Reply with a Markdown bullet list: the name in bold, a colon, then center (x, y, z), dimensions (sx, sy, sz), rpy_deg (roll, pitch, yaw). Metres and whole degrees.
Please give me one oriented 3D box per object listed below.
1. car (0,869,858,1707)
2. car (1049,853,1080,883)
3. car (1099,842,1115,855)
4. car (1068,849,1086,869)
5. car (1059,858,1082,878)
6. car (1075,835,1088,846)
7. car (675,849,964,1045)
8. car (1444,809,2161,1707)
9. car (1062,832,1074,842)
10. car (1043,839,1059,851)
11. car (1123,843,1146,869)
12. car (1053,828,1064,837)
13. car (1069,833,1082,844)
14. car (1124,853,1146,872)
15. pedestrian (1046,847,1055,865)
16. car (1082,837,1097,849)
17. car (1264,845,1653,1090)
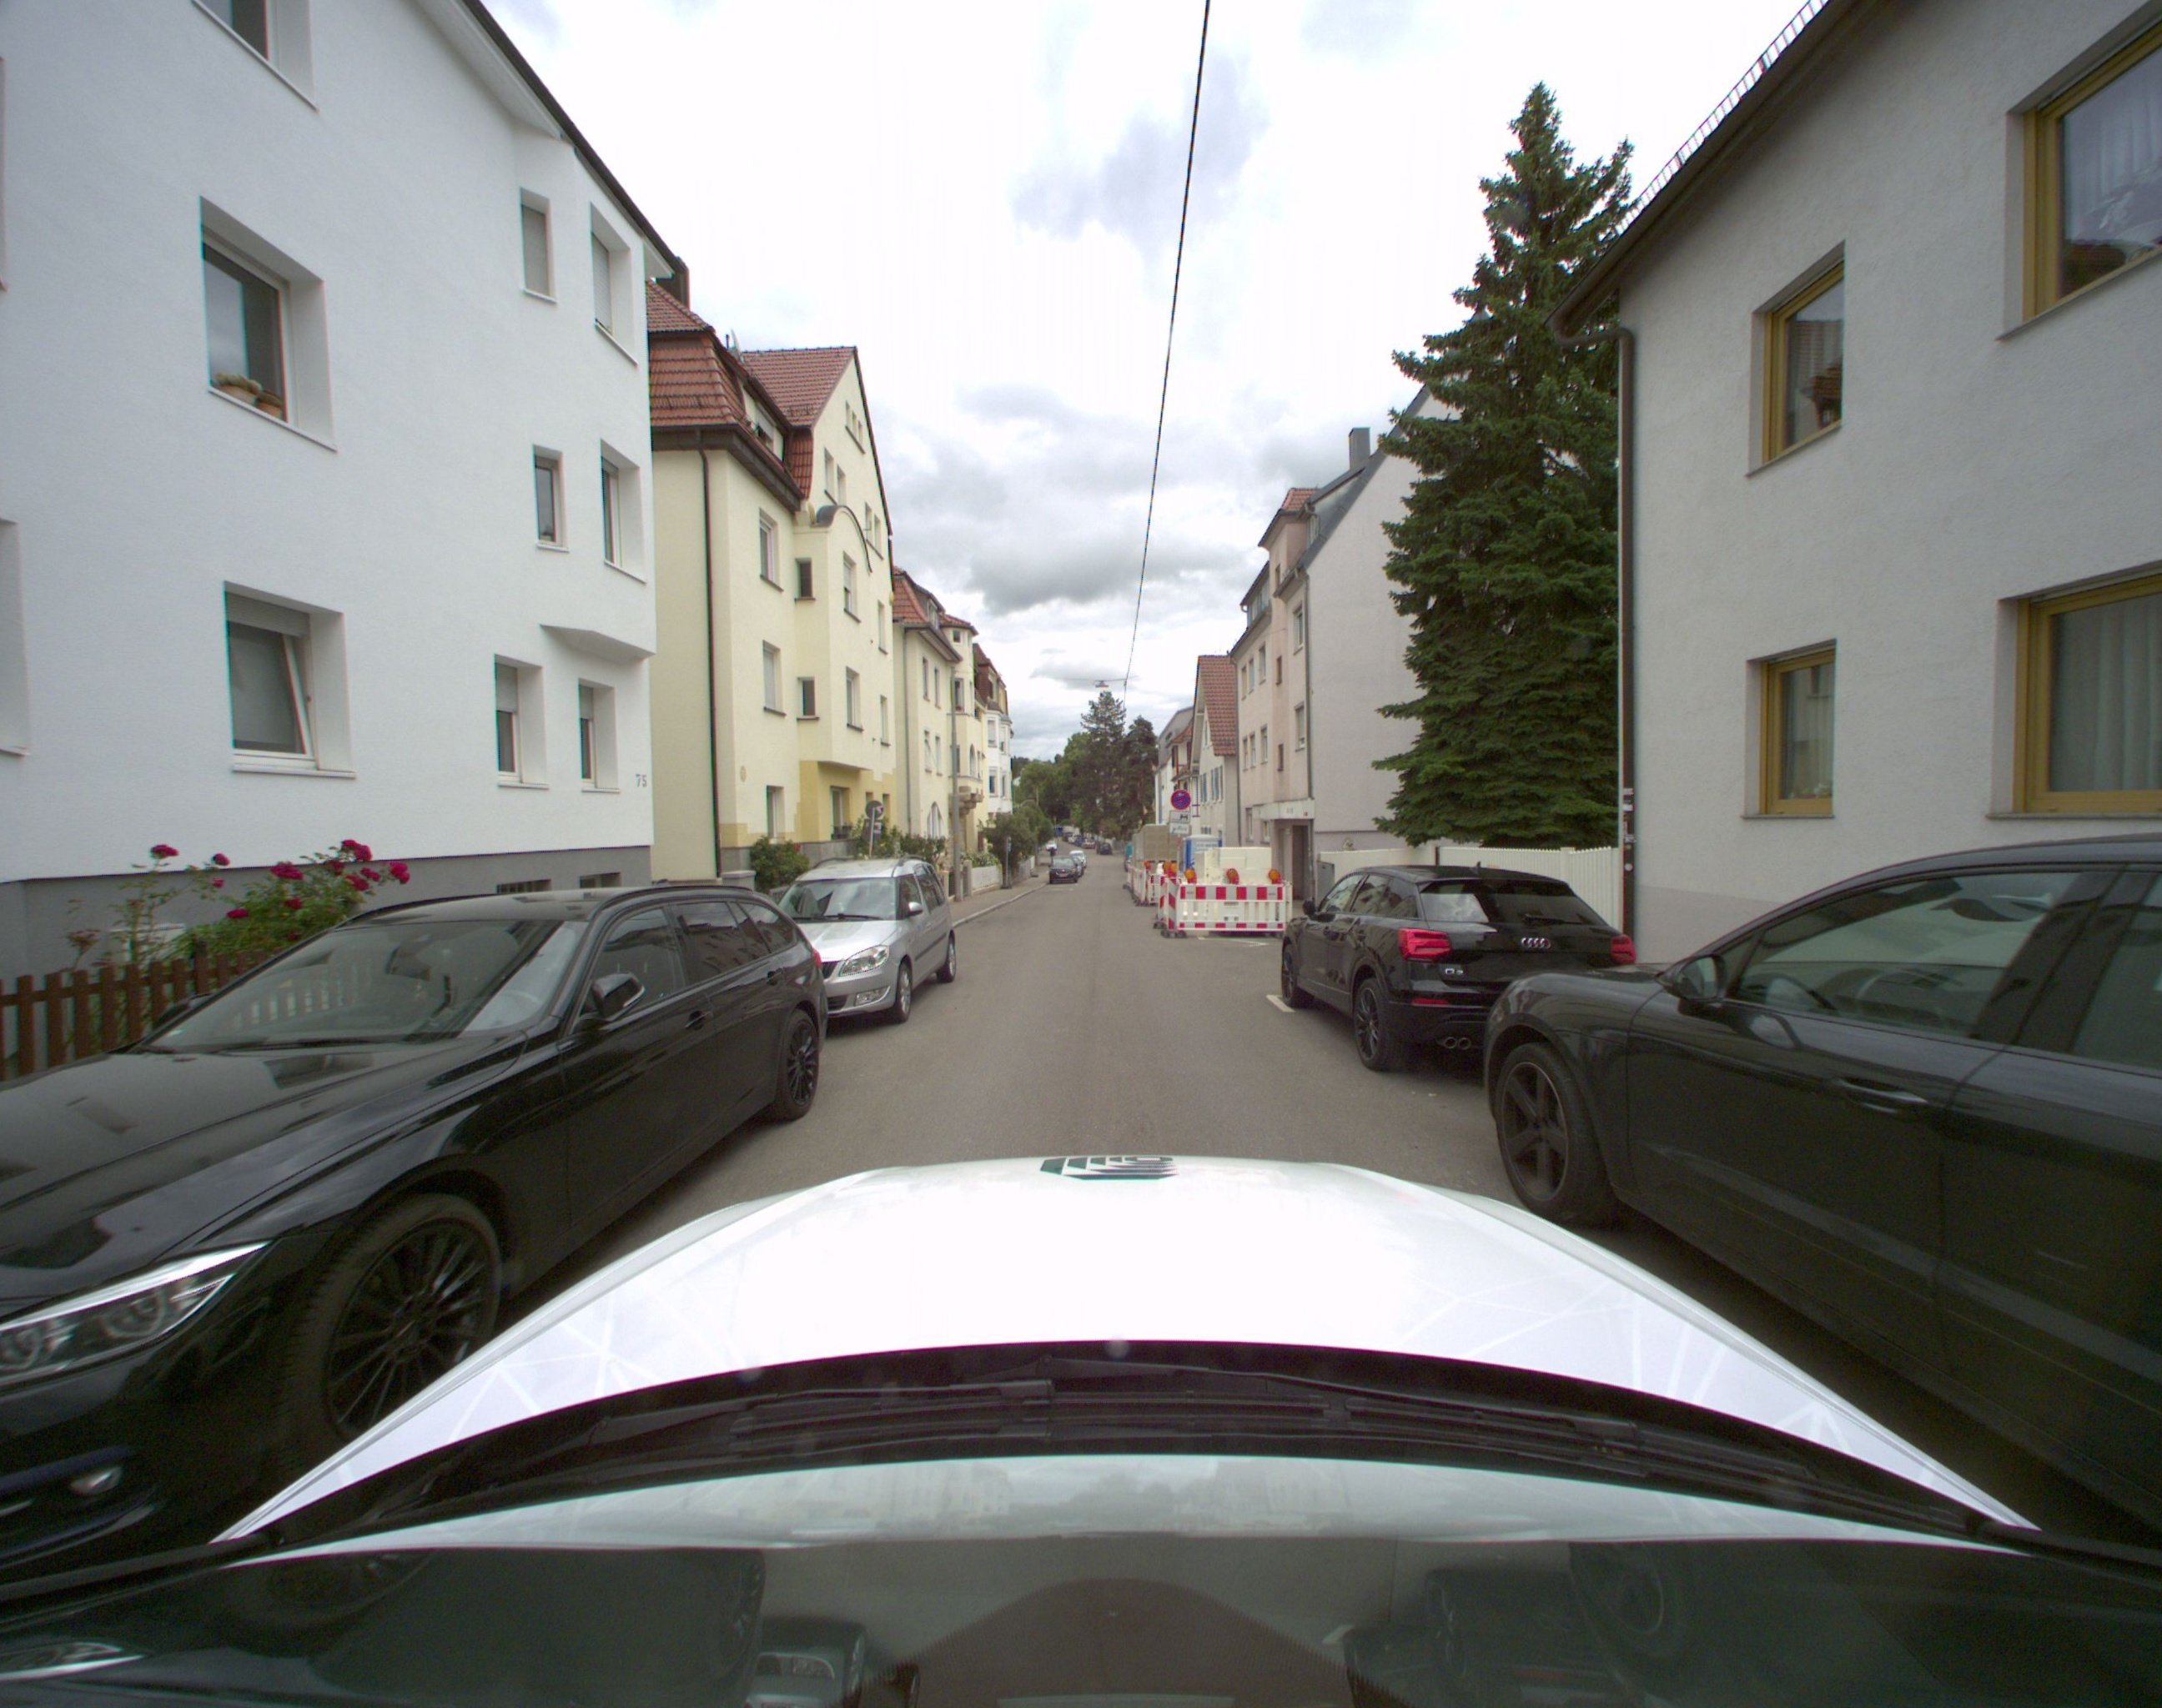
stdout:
- **car**: center (-2.598, 0.853, 3.570), dimensions (1.838, 1.457, 4.506), rpy_deg (-2, 0, 1)
- **car**: center (-1.082, 0.881, 53.064), dimensions (1.840, 1.815, 4.541), rpy_deg (-2, 0, -2)
- **car**: center (3.402, -0.731, 108.207), dimensions (1.632, 1.483, 3.524), rpy_deg (0, 4, -6)
- **car**: center (-0.357, 0.496, 81.786), dimensions (1.667, 1.656, 3.864), rpy_deg (-2, 3, 0)
- **car**: center (-0.761, 1.053, 63.583), dimensions (1.637, 1.416, 3.984), rpy_deg (-2, 0, 0)
- **car**: center (0.048, -2.104, 124.806), dimensions (1.633, 1.483, 3.522), rpy_deg (0, 4, -8)
- **car**: center (-2.547, 0.801, 9.130), dimensions (1.839, 1.631, 4.285), rpy_deg (-1, 0, -1)
- **car**: center (2.781, 0.717, 2.101), dimensions (1.707, 1.596, 4.498), rpy_deg (0, 0, 0)
- **car**: center (-2.132, -2.920, 136.734), dimensions (1.633, 1.537, 3.522), rpy_deg (0, 4, -8)
- **car**: center (-4.381, -1.320, 117.753), dimensions (1.673, 1.656, 3.849), rpy_deg (-3, 3, -11)
- **car**: center (5.095, 0.128, 78.063), dimensions (1.973, 2.362, 4.277), rpy_deg (-1, 1, 0)
- **car**: center (-4.234, -3.964, 151.200), dimensions (1.633, 1.537, 3.522), rpy_deg (0, 4, -8)
- **car**: center (-0.908, -2.497, 130.912), dimensions (1.633, 1.537, 3.522), rpy_deg (0, 4, -8)
- **car**: center (4.761, 0.719, 71.718), dimensions (1.719, 1.448, 3.881), rpy_deg (-1, 1, 1)
- **pedestrian**: center (-3.218, 0.195, 85.774), dimensions (0.788, 1.932, 0.920), rpy_deg (0, 1, 4)
- **car**: center (1.248, -1.646, 120.348), dimensions (1.633, 1.483, 3.522), rpy_deg (0, 4, -8)
- **car**: center (2.885, 0.716, 7.280), dimensions (1.708, 1.565, 4.075), rpy_deg (0, 0, 2)
